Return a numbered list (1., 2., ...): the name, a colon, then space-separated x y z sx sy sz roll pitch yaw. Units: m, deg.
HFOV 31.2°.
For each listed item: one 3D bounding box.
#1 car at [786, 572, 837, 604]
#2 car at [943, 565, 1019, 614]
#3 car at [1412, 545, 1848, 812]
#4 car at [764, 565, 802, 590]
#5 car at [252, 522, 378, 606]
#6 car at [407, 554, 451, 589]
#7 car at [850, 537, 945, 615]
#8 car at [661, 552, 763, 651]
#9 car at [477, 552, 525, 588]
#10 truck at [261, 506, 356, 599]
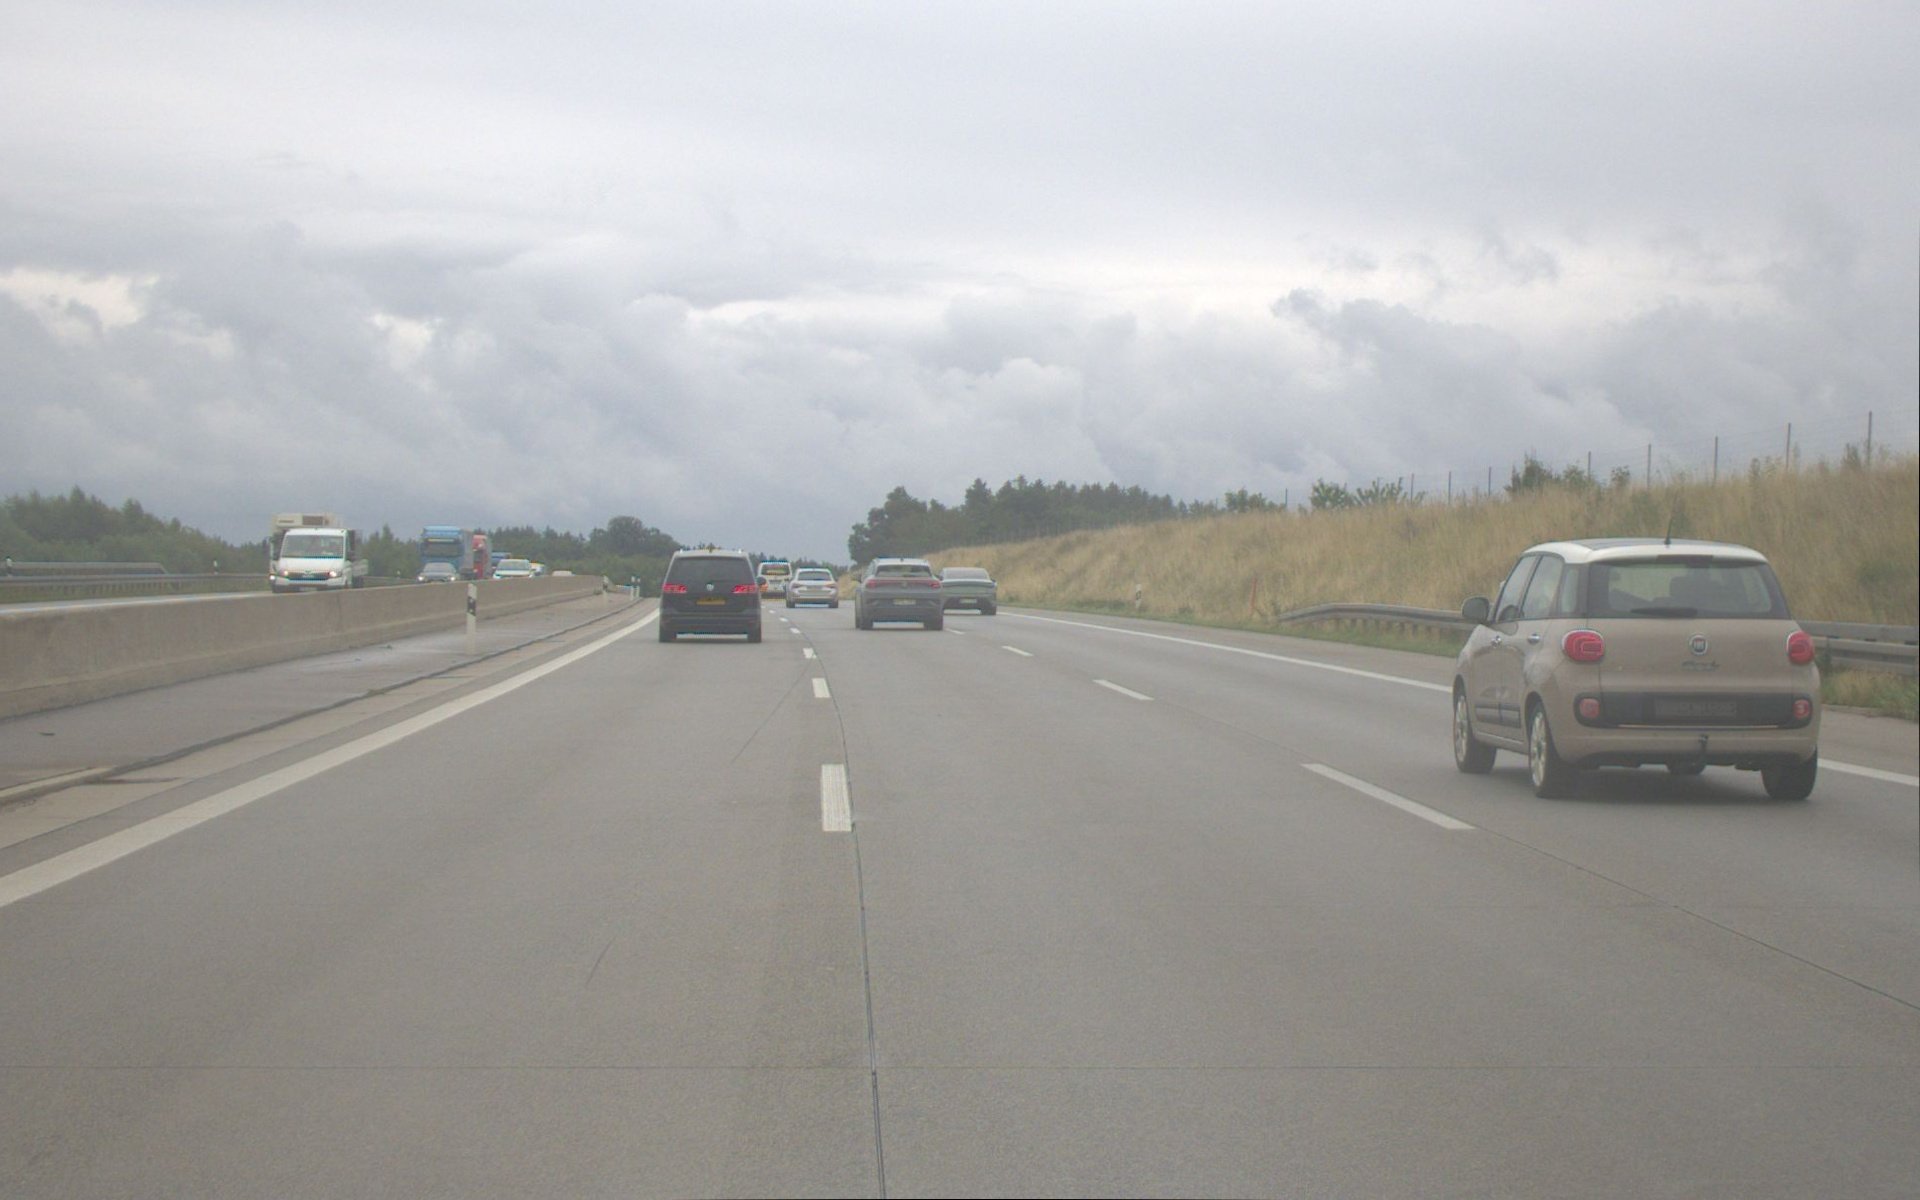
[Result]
1. car: -5.408 -0.446 125.807 1.797 1.119 4.000 1 1 -2
2. car: 0.626 -0.347 106.548 2.014 1.441 4.745 1 1 -3
3. car: 4.364 0.456 23.128 1.785 1.599 4.571 1 1 -3
4. car: -8.955 -1.157 174.216 1.797 1.217 4.000 1 1 -2
5. car: -19.282 -1.065 103.122 2.620 2.392 7.517 1 1 -2
6. car: -24.837 -1.342 160.970 1.629 1.561 4.411 1 1 -3
7. car: -1.466 -0.557 78.181 1.897 1.684 5.267 1 1 -4
8. car: -4.522 0.008 63.113 1.785 1.741 3.915 1 1 -3
9. car: -20.448 -1.339 153.219 1.742 1.561 4.500 1 1 -3
10. truck: -27.973 -2.034 147.879 2.898 3.850 8.901 1 1 -4
